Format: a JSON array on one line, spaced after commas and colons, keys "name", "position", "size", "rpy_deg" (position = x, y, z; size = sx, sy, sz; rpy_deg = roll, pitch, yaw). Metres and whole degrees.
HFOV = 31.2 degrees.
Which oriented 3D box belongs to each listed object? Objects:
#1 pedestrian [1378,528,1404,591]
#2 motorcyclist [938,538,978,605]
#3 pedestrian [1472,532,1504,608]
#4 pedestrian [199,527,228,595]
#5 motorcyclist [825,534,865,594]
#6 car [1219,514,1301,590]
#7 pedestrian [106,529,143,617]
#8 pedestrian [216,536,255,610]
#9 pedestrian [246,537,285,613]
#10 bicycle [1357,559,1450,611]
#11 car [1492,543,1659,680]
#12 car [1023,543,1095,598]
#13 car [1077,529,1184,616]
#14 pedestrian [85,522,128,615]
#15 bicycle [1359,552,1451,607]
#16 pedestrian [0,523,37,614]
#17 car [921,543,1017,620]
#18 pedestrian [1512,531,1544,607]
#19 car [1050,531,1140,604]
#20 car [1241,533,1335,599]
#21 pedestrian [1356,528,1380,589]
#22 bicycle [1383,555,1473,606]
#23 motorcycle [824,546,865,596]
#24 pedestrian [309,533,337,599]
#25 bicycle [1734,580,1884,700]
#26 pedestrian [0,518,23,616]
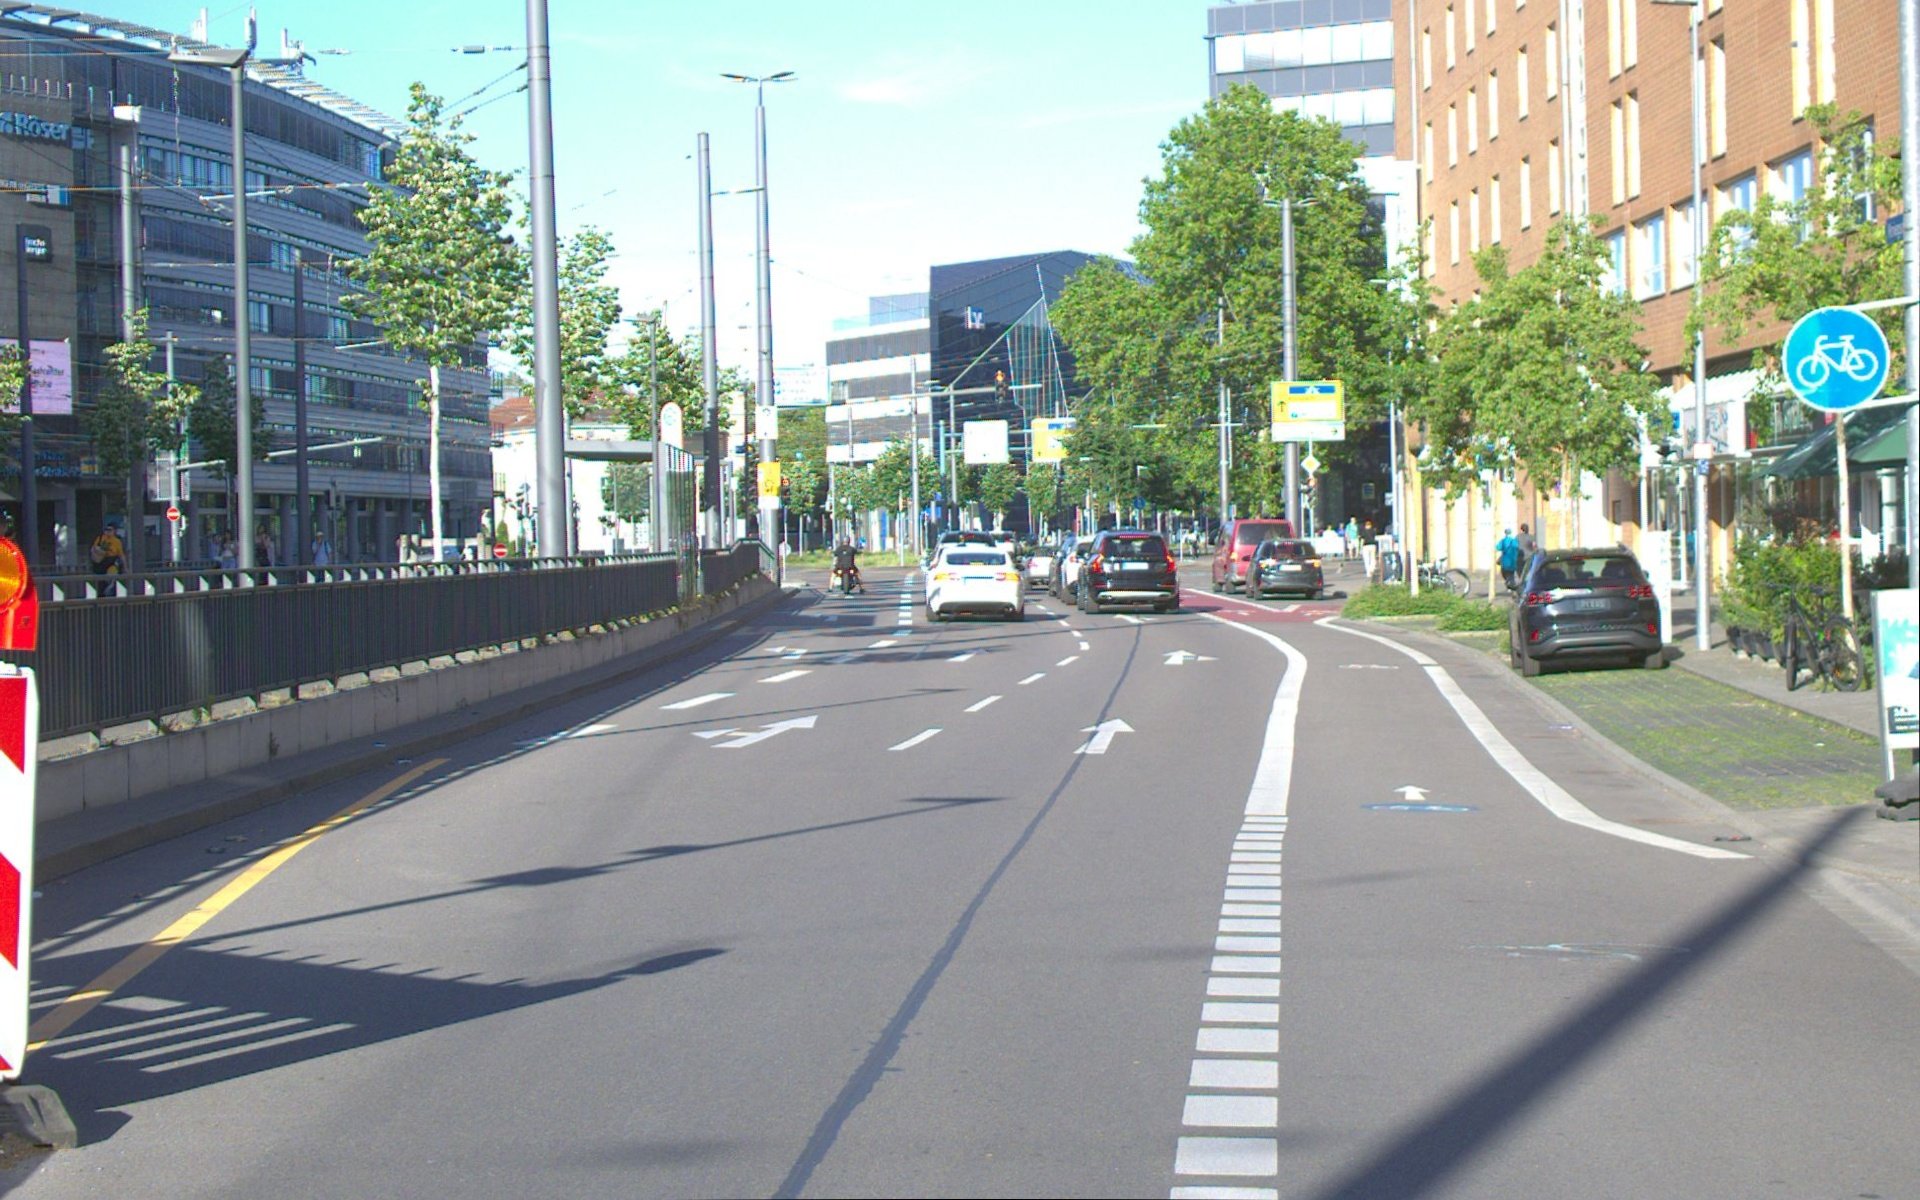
[{"name": "pedestrian", "position": [12.543, -1.184, 100.017], "size": [0.606, 1.815, 0.748], "rpy_deg": [-1, 0, -1]}, {"name": "motorcyclist", "position": [-0.048, -0.637, 76.157], "size": [0.837, 1.470, 1.236], "rpy_deg": [-1, 1, -2]}, {"name": "pedestrian", "position": [12.657, -0.723, 82.401], "size": [0.606, 1.815, 0.748], "rpy_deg": [-1, 0, -1]}, {"name": "pedestrian", "position": [-17.899, -0.937, 82.460], "size": [0.563, 1.603, 0.616], "rpy_deg": [0, 1, 0]}, {"name": "motorcyclist", "position": [-3.120, -0.972, 93.088], "size": [1.019, 1.598, 1.148], "rpy_deg": [1, 1, 0]}, {"name": "car", "position": [7.984, -1.287, 91.704], "size": [1.860, 1.954, 4.000], "rpy_deg": [-1, 1, 1]}, {"name": "pedestrian", "position": [-16.478, -0.540, 67.812], "size": [0.581, 1.732, 0.616], "rpy_deg": [0, 1, 0]}, {"name": "pedestrian", "position": [-15.814, -0.588, 75.051], "size": [0.640, 1.602, 0.945], "rpy_deg": [1, 1, 0]}, {"name": "pedestrian", "position": [-15.165, -0.558, 75.038], "size": [0.640, 1.637, 0.945], "rpy_deg": [1, 1, 0]}, {"name": "bicycle", "position": [9.639, -0.328, 74.728], "size": [1.946, 1.071, 0.554], "rpy_deg": [-2, 0, 10]}, {"name": "car", "position": [7.821, 0.107, 44.003], "size": [1.721, 1.631, 4.230], "rpy_deg": [-2, 1, 6]}, {"name": "car", "position": [2.803, -0.856, 97.753], "size": [1.851, 1.492, 4.379], "rpy_deg": [0, 1, -1]}, {"name": "car", "position": [3.577, -0.613, 72.921], "size": [1.975, 1.753, 4.633], "rpy_deg": [1, 1, 0]}, {"name": "pedestrian", "position": [-15.638, -0.574, 63.005], "size": [0.640, 1.690, 0.541], "rpy_deg": [1, 1, 0]}, {"name": "bicycle", "position": [9.735, -0.443, 75.248], "size": [1.946, 1.133, 0.490], "rpy_deg": [-2, 0, 11]}, {"name": "pedestrian", "position": [-16.749, -0.563, 60.931], "size": [0.622, 1.606, 0.616], "rpy_deg": [0, 1, 0]}, {"name": "car", "position": [0.138, -0.387, 67.387], "size": [1.780, 1.409, 4.819], "rpy_deg": [1, 1, -1]}, {"name": "pedestrian", "position": [13.721, -0.741, 83.013], "size": [0.606, 1.815, 0.748], "rpy_deg": [-1, 0, -1]}, {"name": "car", "position": [3.134, -0.771, 80.408], "size": [1.851, 1.634, 4.379], "rpy_deg": [-1, 1, -1]}, {"name": "car", "position": [8.125, -0.866, 85.393], "size": [1.846, 1.555, 4.633], "rpy_deg": [1, 1, 0]}, {"name": "pedestrian", "position": [12.231, -1.242, 103.040], "size": [0.606, 1.815, 0.748], "rpy_deg": [-1, 0, -1]}, {"name": "bicycle", "position": [10.563, -0.446, 77.634], "size": [1.946, 1.071, 0.625], "rpy_deg": [-2, 0, 11]}, {"name": "motorcycle", "position": [-3.116, -0.798, 93.071], "size": [1.019, 1.307, 2.915], "rpy_deg": [1, 1, 0]}, {"name": "pedestrian", "position": [-17.514, -0.930, 94.535], "size": [0.614, 1.811, 0.897], "rpy_deg": [0, 1, 0]}, {"name": "bicycle", "position": [8.392, 0.392, 34.076], "size": [0.765, 1.077, 1.998], "rpy_deg": [-6, 0, -4]}, {"name": "pedestrian", "position": [-16.793, -0.582, 60.193], "size": [0.622, 1.709, 0.616], "rpy_deg": [0, 1, 0]}]
